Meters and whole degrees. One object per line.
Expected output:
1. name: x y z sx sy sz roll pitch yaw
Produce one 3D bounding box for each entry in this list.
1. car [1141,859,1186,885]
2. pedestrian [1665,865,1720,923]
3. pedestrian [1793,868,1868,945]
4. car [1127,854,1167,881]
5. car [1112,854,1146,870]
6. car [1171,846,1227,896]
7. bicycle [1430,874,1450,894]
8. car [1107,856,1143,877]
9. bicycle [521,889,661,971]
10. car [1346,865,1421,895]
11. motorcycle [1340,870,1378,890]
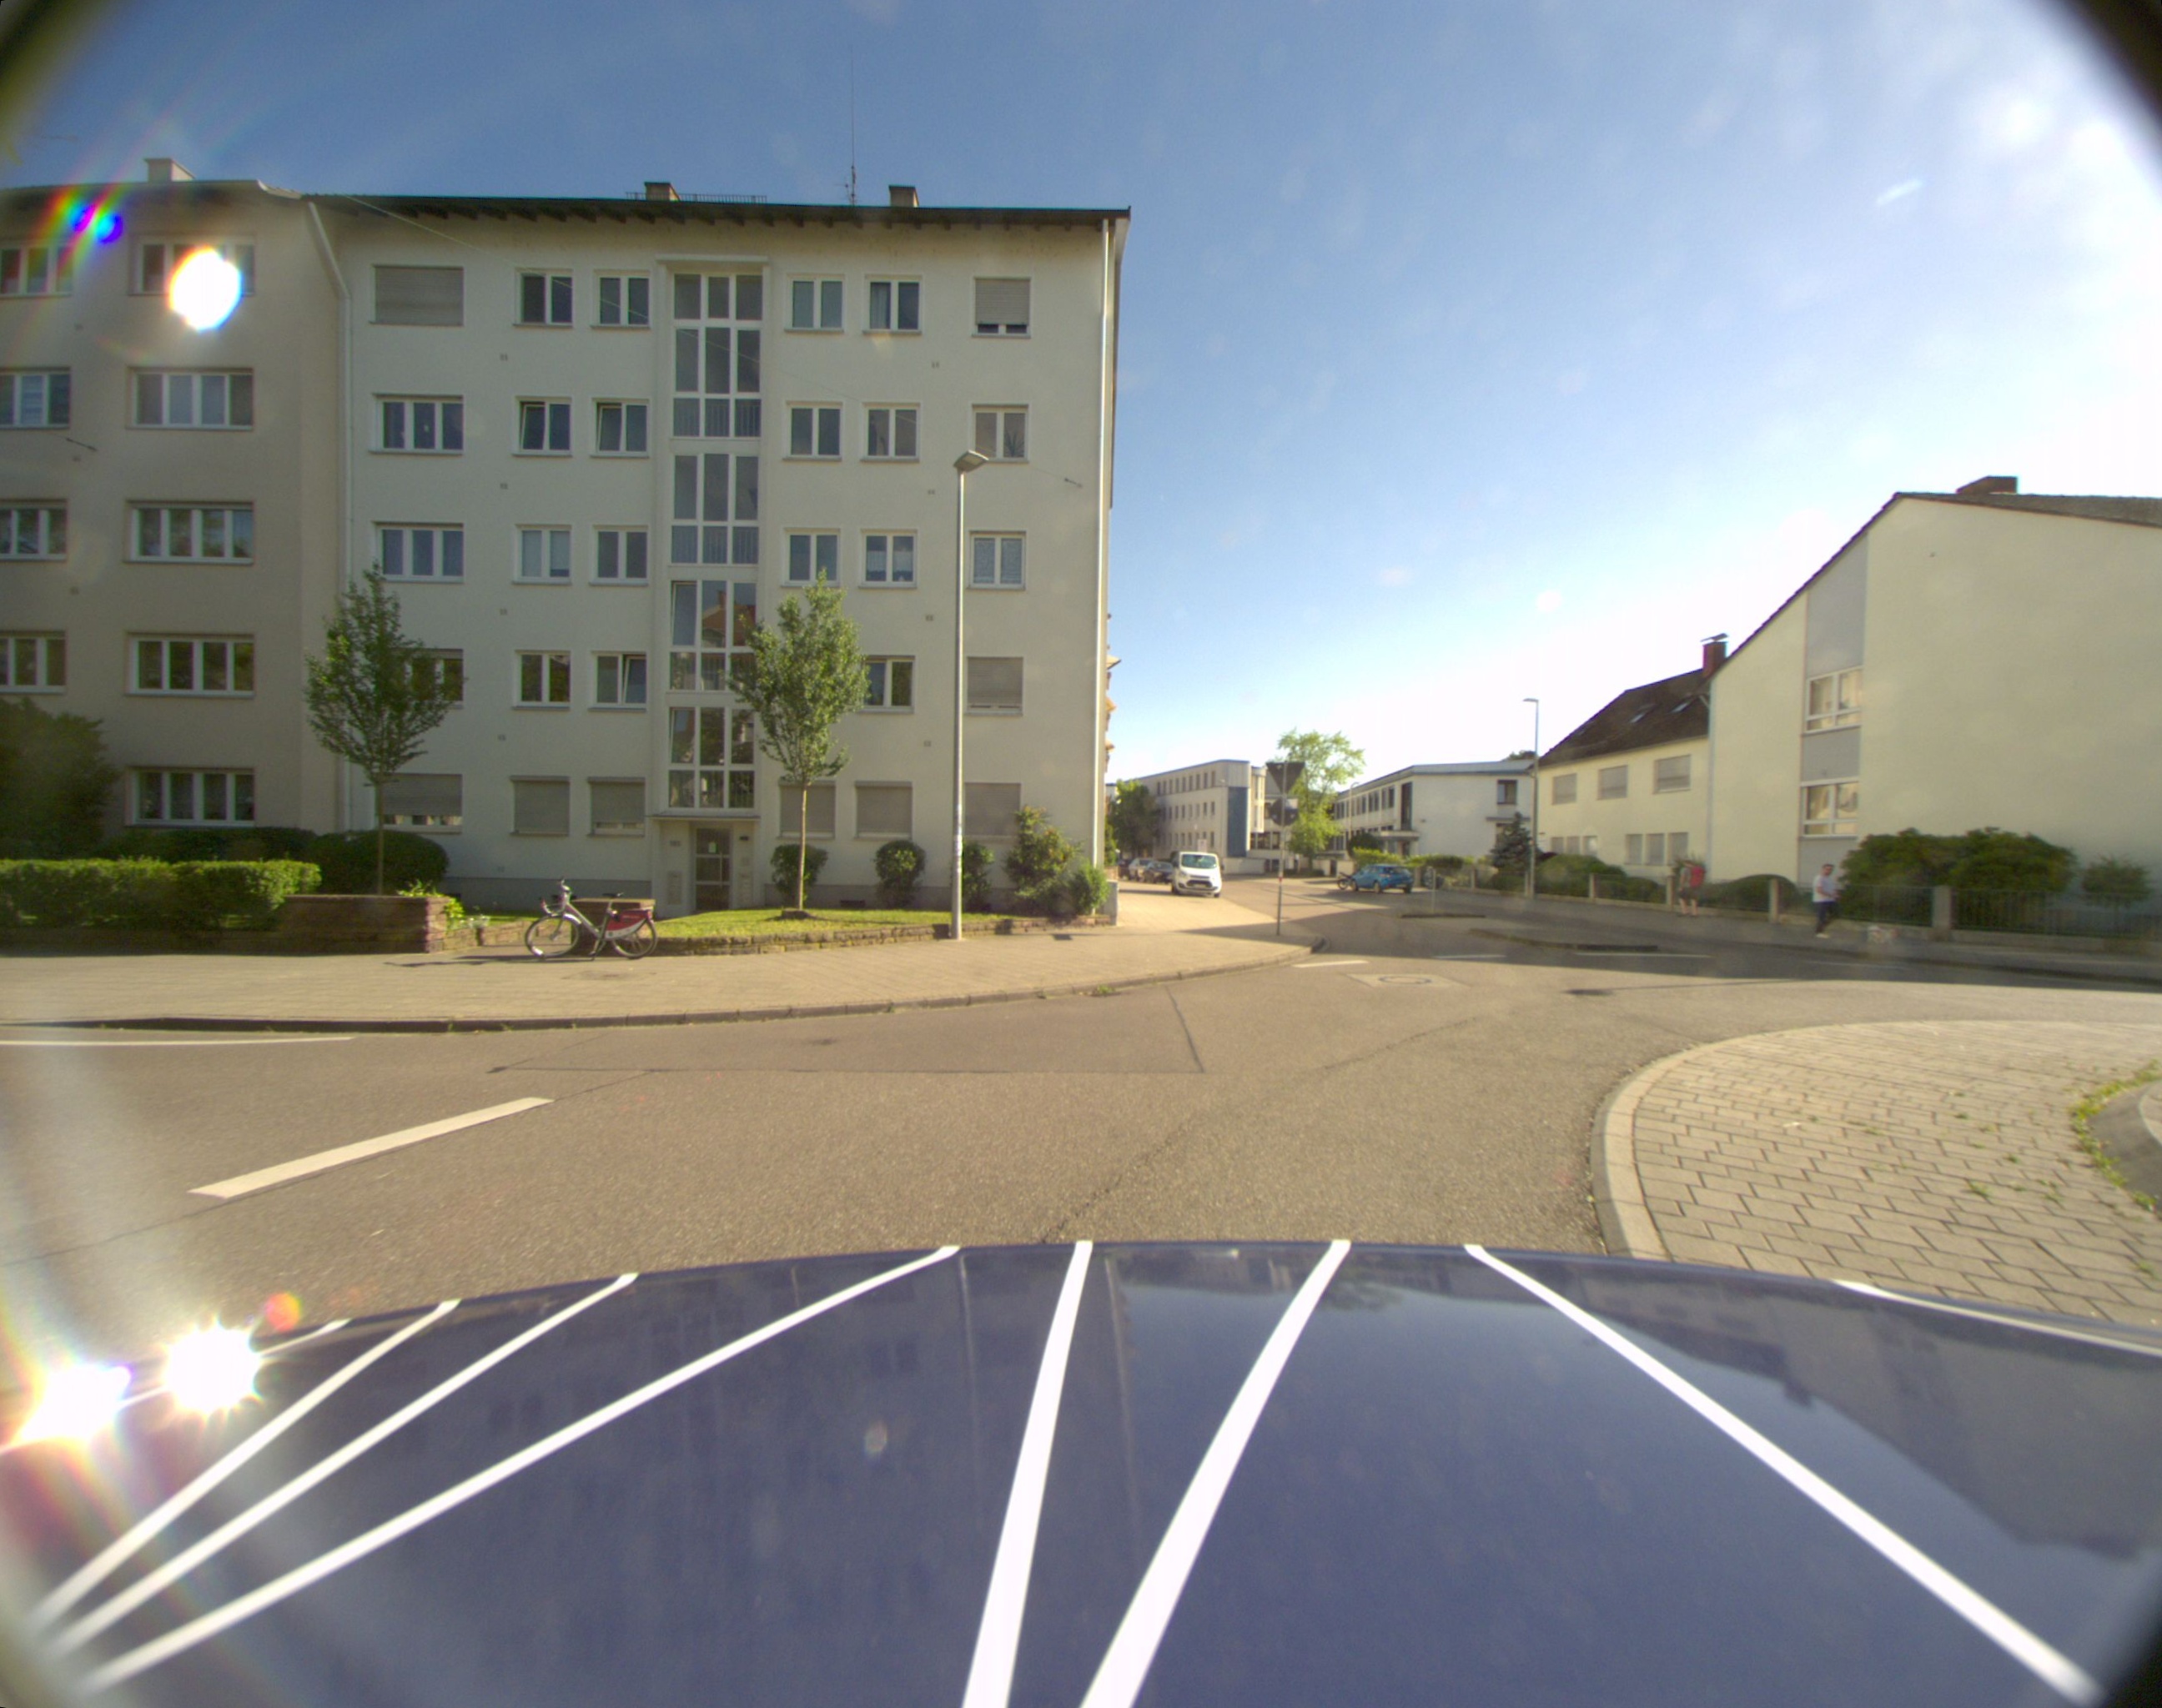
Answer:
1. car: 5.258 1.124 48.937 1.759 1.386 3.996 5 0 -9
2. pedestrian: 18.236 1.174 22.687 0.819 1.696 0.997 0 1 -2
3. pedestrian: 17.271 1.187 17.525 0.692 1.696 0.996 0 1 -10
4. car: 4.621 0.921 53.453 1.759 1.632 3.996 5 0 -9
5. car: 5.203 0.822 83.206 2.141 1.604 4.827 -1 1 -18
6. car: 5.292 0.728 34.715 1.998 2.002 4.798 4 0 4
7. bicycle: 19.051 1.592 40.341 0.345 1.010 1.263 2 1 -3
8. car: 3.431 0.966 60.441 1.759 1.445 3.995 5 0 -12
9. bicycle: -6.760 1.050 10.523 1.625 1.073 0.384 1 3 -5
10. car: 15.699 1.318 39.695 1.885 1.426 4.412 0 0 -4
11. motorcycle: 15.607 1.454 42.625 1.959 1.089 0.591 0 0 24
